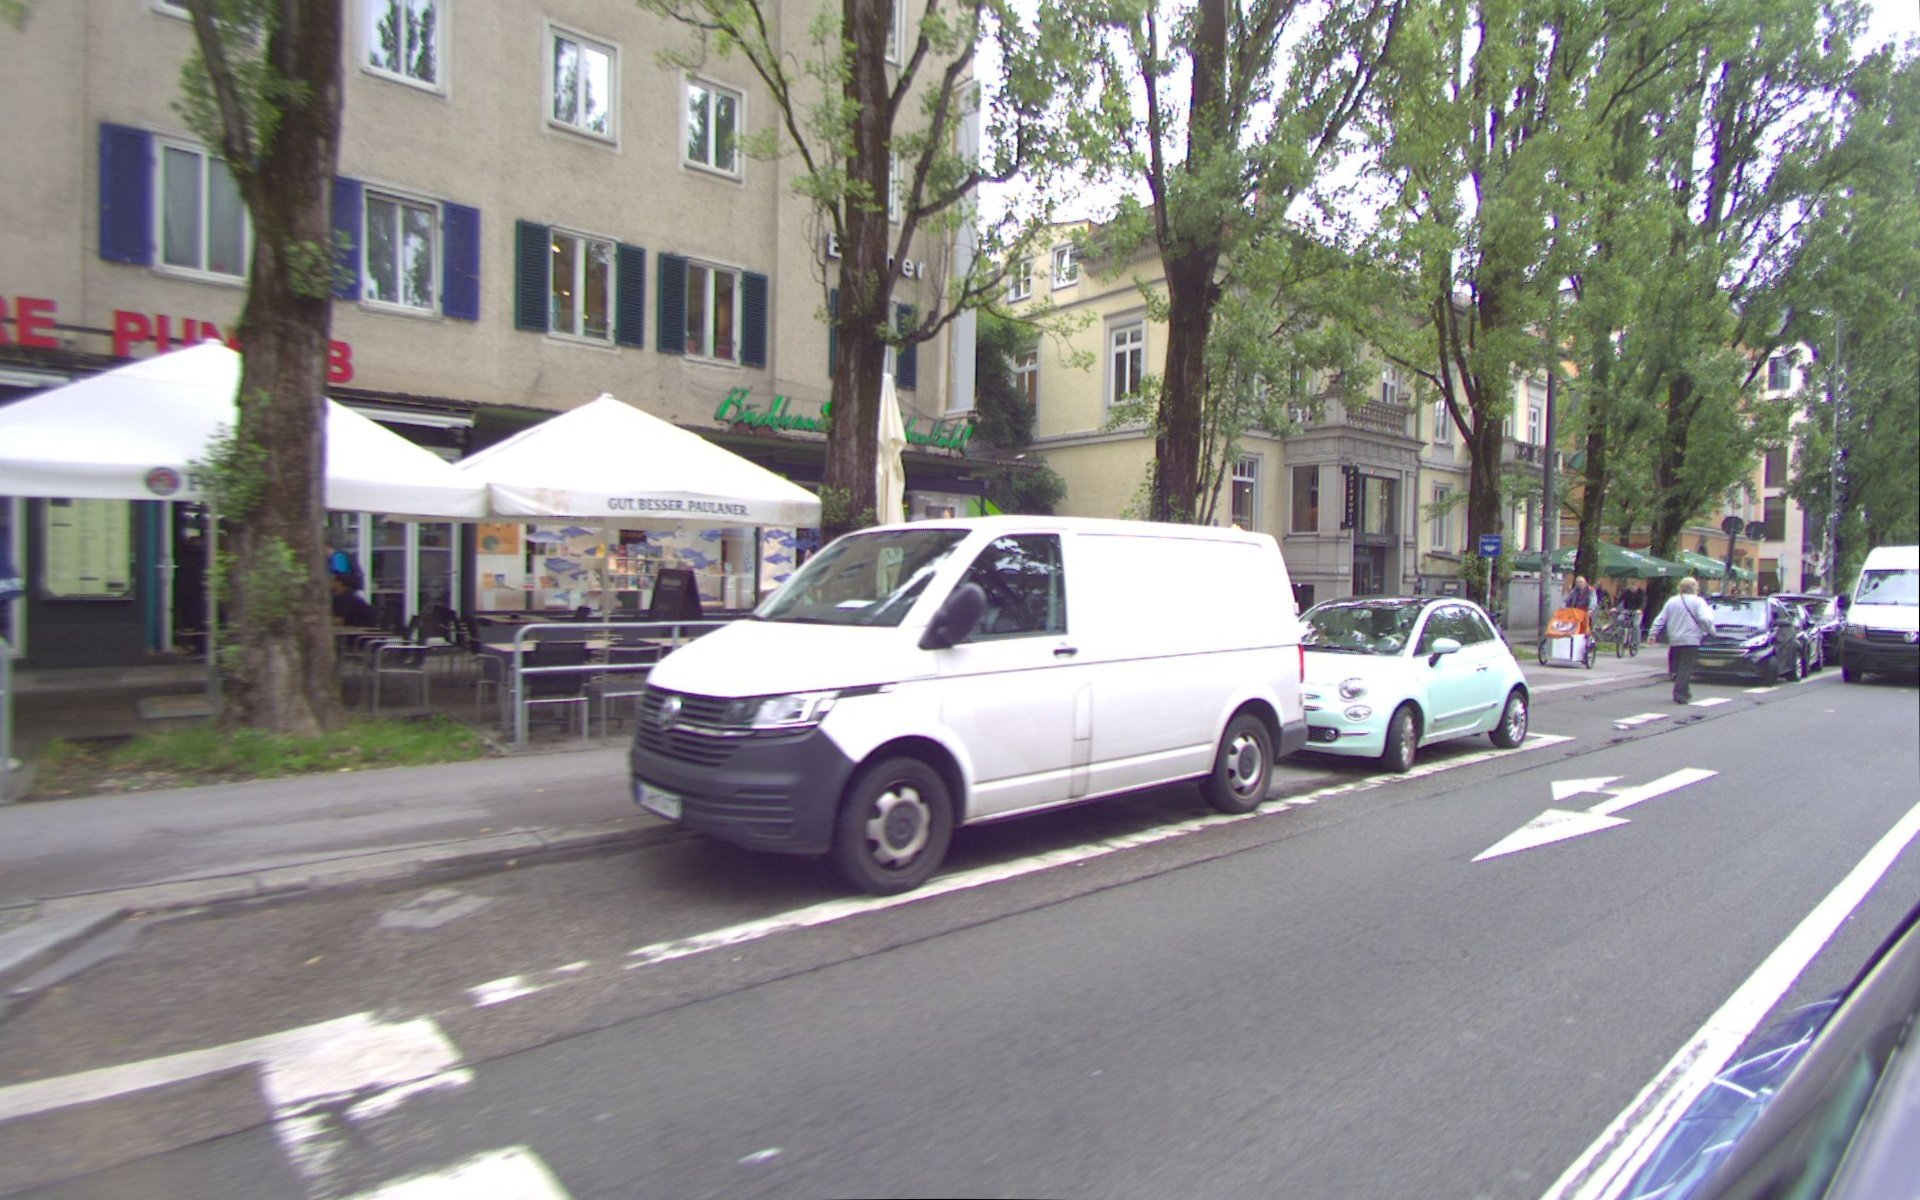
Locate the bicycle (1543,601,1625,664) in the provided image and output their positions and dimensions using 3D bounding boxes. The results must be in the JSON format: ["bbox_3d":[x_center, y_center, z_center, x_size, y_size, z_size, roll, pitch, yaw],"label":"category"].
[{"bbox_3d":[12.419,0.624,20.113,2.067,1.133,0.885,0,3,-44],"label":"bicycle"}]

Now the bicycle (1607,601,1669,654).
[{"bbox_3d":[15.544,0.594,23.173,2.067,1.134,0.736,0,1,-44],"label":"bicycle"}]

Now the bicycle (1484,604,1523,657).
[{"bbox_3d":[11.144,0.604,20.780,0.504,1.006,1.616,1,1,22],"label":"bicycle"}]

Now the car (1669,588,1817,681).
[{"bbox_3d":[14.043,0.560,18.121,2.681,1.537,1.595,0,0,-41],"label":"car"}]

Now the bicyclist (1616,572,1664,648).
[{"bbox_3d":[15.585,0.212,23.203,0.736,1.708,0.740,0,1,-43],"label":"bicyclist"}]

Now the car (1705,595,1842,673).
[{"bbox_3d":[16.753,0.616,20.768,4.272,1.411,1.711,0,1,-45],"label":"car"}]

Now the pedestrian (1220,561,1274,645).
[{"bbox_3d":[5.769,0.056,20.337,0.855,1.625,0.617,0,3,-43],"label":"pedestrian"}]

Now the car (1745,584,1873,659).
[{"bbox_3d":[20.535,0.450,24.414,4.371,1.658,1.805,0,1,-42],"label":"car"}]

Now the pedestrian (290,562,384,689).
[{"bbox_3d":[-6.903,0.263,11.213,0.786,1.340,0.639,0,1,-41],"label":"pedestrian"}]

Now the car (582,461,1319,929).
[{"bbox_3d":[0.241,0.375,6.461,4.647,1.970,1.791,0,1,-41],"label":"car"}]

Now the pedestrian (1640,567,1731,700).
[{"bbox_3d":[10.281,0.447,14.347,0.855,1.795,0.829,0,1,-39],"label":"pedestrian"}]

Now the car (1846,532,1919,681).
[{"bbox_3d":[18.810,0.113,19.193,6.611,2.524,2.067,0,1,-40],"label":"car"}]

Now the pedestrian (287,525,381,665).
[{"bbox_3d":[-7.950,-0.069,12.852,0.862,1.698,0.798,0,1,-44],"label":"pedestrian"}]

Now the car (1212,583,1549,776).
[{"bbox_3d":[4.105,0.602,9.673,3.460,1.511,1.544,0,1,-40],"label":"car"}]

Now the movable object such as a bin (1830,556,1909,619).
[{"bbox_3d":[49.100,-0.695,54.604,4.463,3.175,2.445,0,3,-40],"label":"movable object such as a bin"}]

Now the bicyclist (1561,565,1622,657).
[{"bbox_3d":[12.668,0.201,20.315,0.656,1.779,0.829,0,3,-43],"label":"bicyclist"}]
